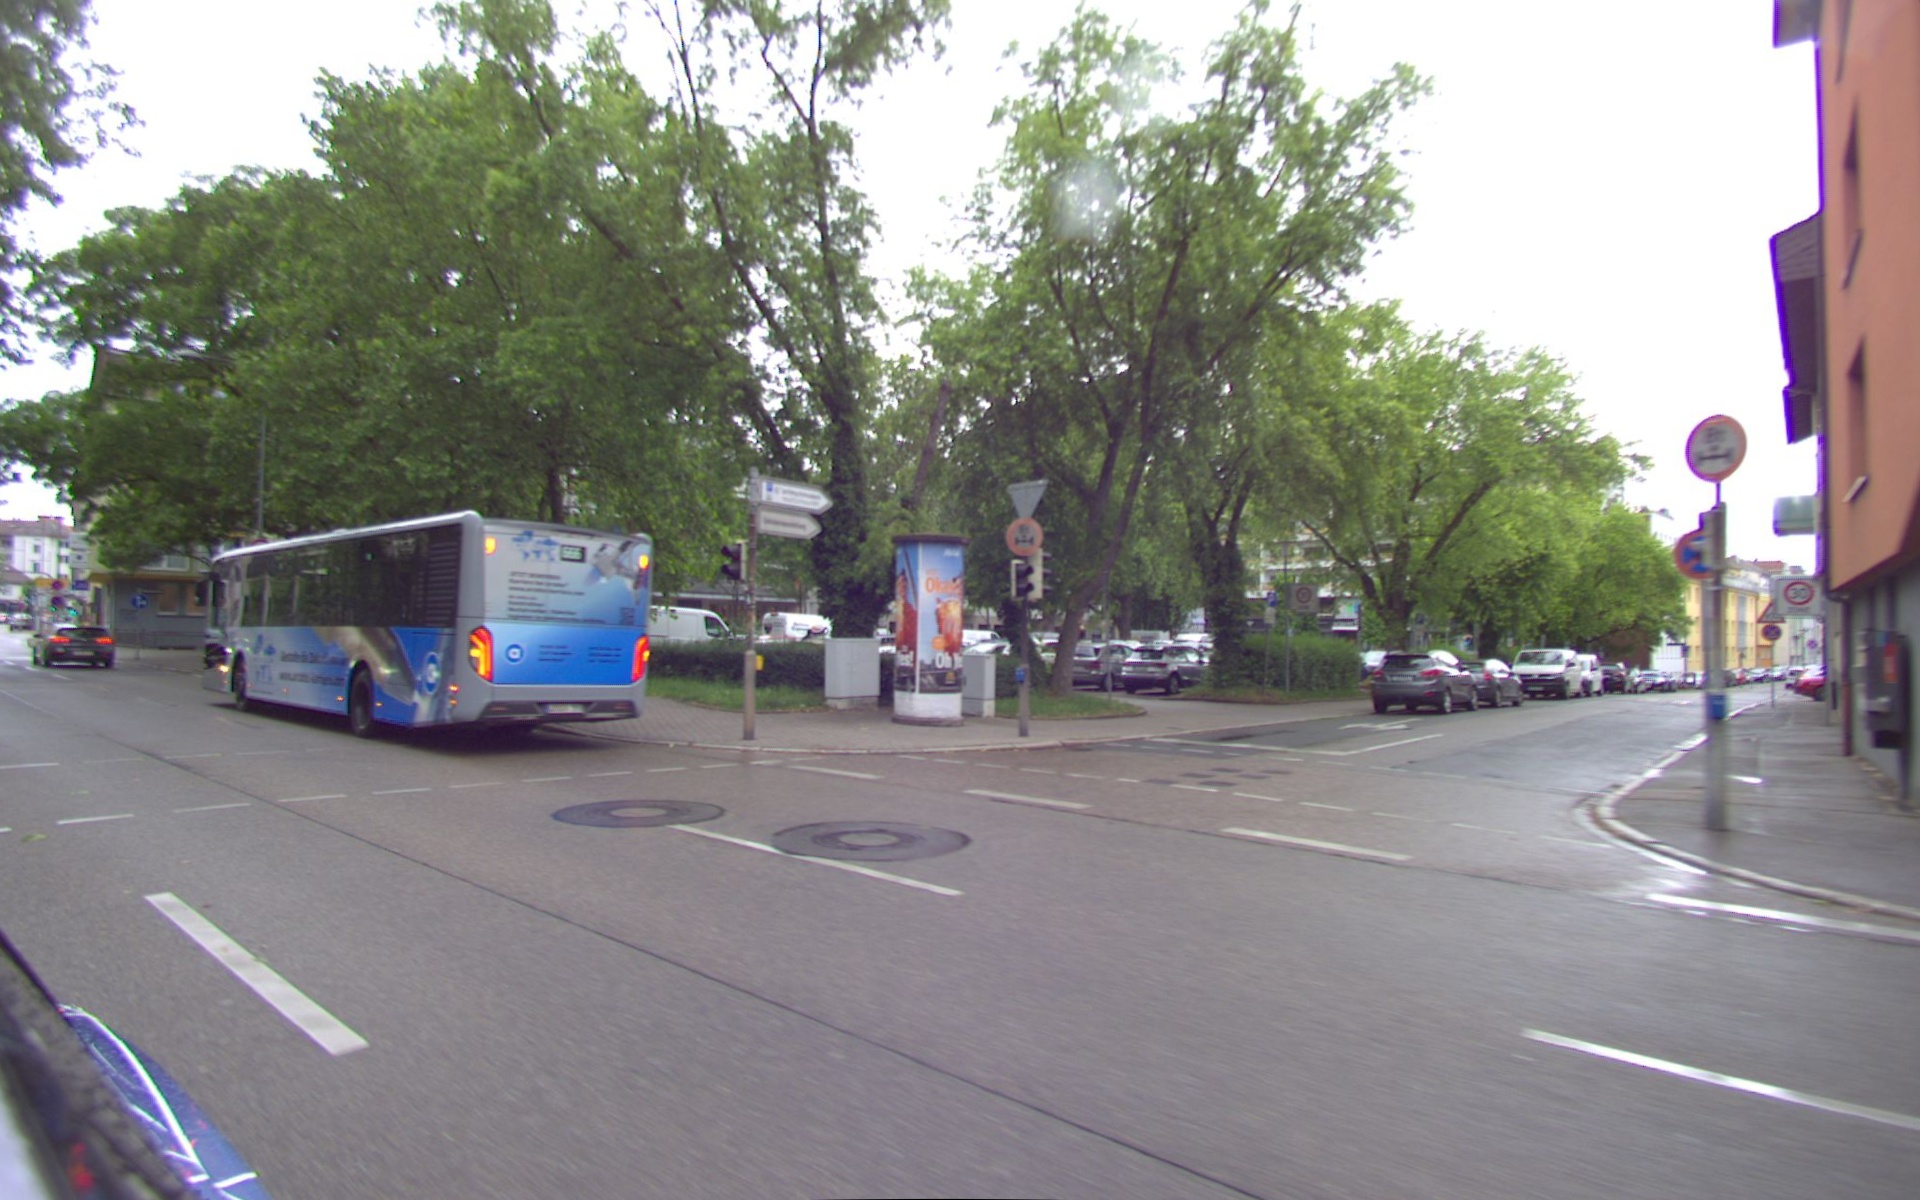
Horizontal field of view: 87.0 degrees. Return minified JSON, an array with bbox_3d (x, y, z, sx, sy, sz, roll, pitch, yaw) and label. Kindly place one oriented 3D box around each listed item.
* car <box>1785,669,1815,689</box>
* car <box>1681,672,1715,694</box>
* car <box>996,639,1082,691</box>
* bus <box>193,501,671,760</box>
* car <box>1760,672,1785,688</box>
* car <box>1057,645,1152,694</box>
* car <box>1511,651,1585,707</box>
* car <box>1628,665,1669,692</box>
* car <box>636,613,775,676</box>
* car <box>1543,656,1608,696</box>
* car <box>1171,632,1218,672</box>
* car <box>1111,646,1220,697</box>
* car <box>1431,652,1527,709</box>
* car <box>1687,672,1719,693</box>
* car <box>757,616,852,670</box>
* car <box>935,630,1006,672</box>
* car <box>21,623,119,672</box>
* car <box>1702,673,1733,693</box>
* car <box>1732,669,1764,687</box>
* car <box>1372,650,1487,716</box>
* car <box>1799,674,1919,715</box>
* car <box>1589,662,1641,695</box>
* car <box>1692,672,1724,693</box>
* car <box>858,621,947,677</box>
[{"bbox_3d":[72.379,6.773,87.242,1.817,1.609,4.314,-2,-4,38],"label":"car"},{"bbox_3d":[57.227,6.394,78.498,1.818,1.609,4.038,-2,-4,40],"label":"car"},{"bbox_3d":[2.816,2.249,35.410,1.695,1.676,3.708,-1,-3,28],"label":"car"},{"bbox_3d":[-9.335,0.469,16.577,12.079,2.962,2.665,-1,-4,41],"label":"bus"},{"bbox_3d":[86.318,8.446,107.493,1.819,1.609,4.036,-2,-4,43],"label":"car"},{"bbox_3d":[4.934,2.316,34.261,1.699,1.550,3.784,-1,-3,34],"label":"car"},{"bbox_3d":[22.718,3.003,39.021,1.817,2.015,4.565,-2,-4,38],"label":"car"},{"bbox_3d":[43.519,4.963,63.949,1.817,1.609,4.314,-2,-4,38],"label":"car"},{"bbox_3d":[-8.301,1.483,33.365,1.701,1.937,4.280,-1,-4,39],"label":"car"},{"bbox_3d":[26.414,3.245,43.365,1.817,1.609,4.314,-2,-4,38],"label":"car"},{"bbox_3d":[15.884,3.507,68.392,1.991,2.633,4.540,-1,-3,28],"label":"car"},{"bbox_3d":[6.632,2.265,32.505,1.831,1.529,3.597,-2,-4,43],"label":"car"},{"bbox_3d":[16.156,2.475,31.391,1.817,1.609,4.314,-2,-4,38],"label":"car"},{"bbox_3d":[60.182,6.675,81.969,1.818,1.609,4.038,-2,-4,40],"label":"car"},{"bbox_3d":[-7.848,2.202,51.392,2.000,2.633,4.520,-2,-4,42],"label":"car"},{"bbox_3d":[0.709,3.262,64.653,2.000,2.633,4.520,-2,-4,42],"label":"car"},{"bbox_3d":[-30.329,1.641,34.437,4.804,1.529,1.779,-2,-5,41],"label":"car"},{"bbox_3d":[66.685,7.285,89.076,1.819,1.609,4.036,-2,-4,43],"label":"car"},{"bbox_3d":[75.314,7.460,96.712,4.033,1.609,1.820,4,-4,-45],"label":"car"},{"bbox_3d":[12.660,2.198,27.165,1.817,1.609,4.314,-2,-4,38],"label":"car"},{"bbox_3d":[38.541,3.974,42.966,4.363,1.609,1.796,-2,-4,37],"label":"car"},{"bbox_3d":[33.583,4.002,51.829,1.817,1.609,4.314,-2,-4,38],"label":"car"},{"bbox_3d":[63.043,6.922,85.279,1.818,1.609,4.038,-2,-4,40],"label":"car"},{"bbox_3d":[-2.784,2.411,50.038,1.995,2.633,4.531,-1,-4,34],"label":"car"}]
